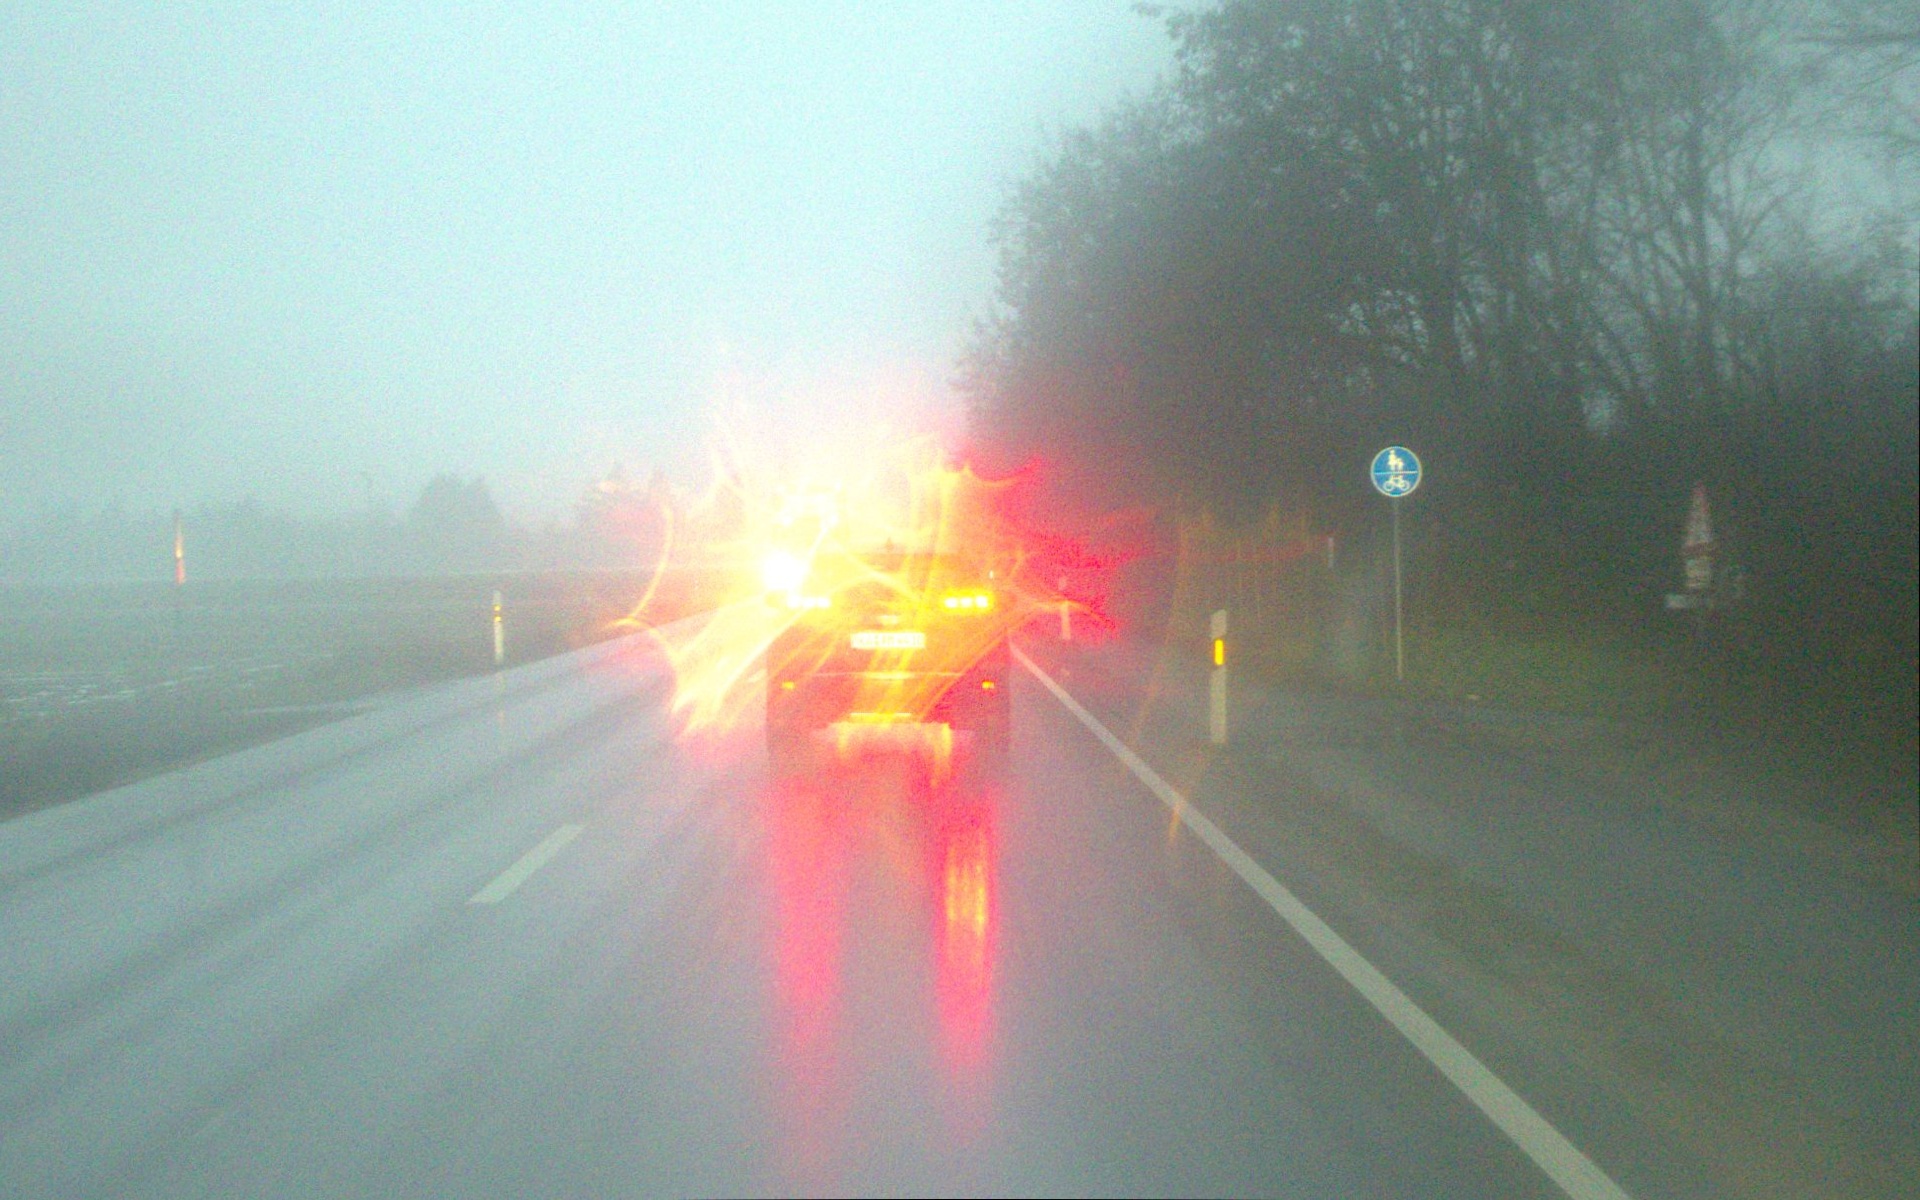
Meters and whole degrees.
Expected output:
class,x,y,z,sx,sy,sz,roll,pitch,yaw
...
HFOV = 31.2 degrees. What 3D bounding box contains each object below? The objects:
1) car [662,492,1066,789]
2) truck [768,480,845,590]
class,x,y,z,sx,sy,sz,roll,pitch,yaw
car,-0.686,0.251,26.982,2.820,2.070,5.804,0,1,0
truck,-5.940,-2.507,133.669,2.725,4.091,6.589,-2,1,-1
